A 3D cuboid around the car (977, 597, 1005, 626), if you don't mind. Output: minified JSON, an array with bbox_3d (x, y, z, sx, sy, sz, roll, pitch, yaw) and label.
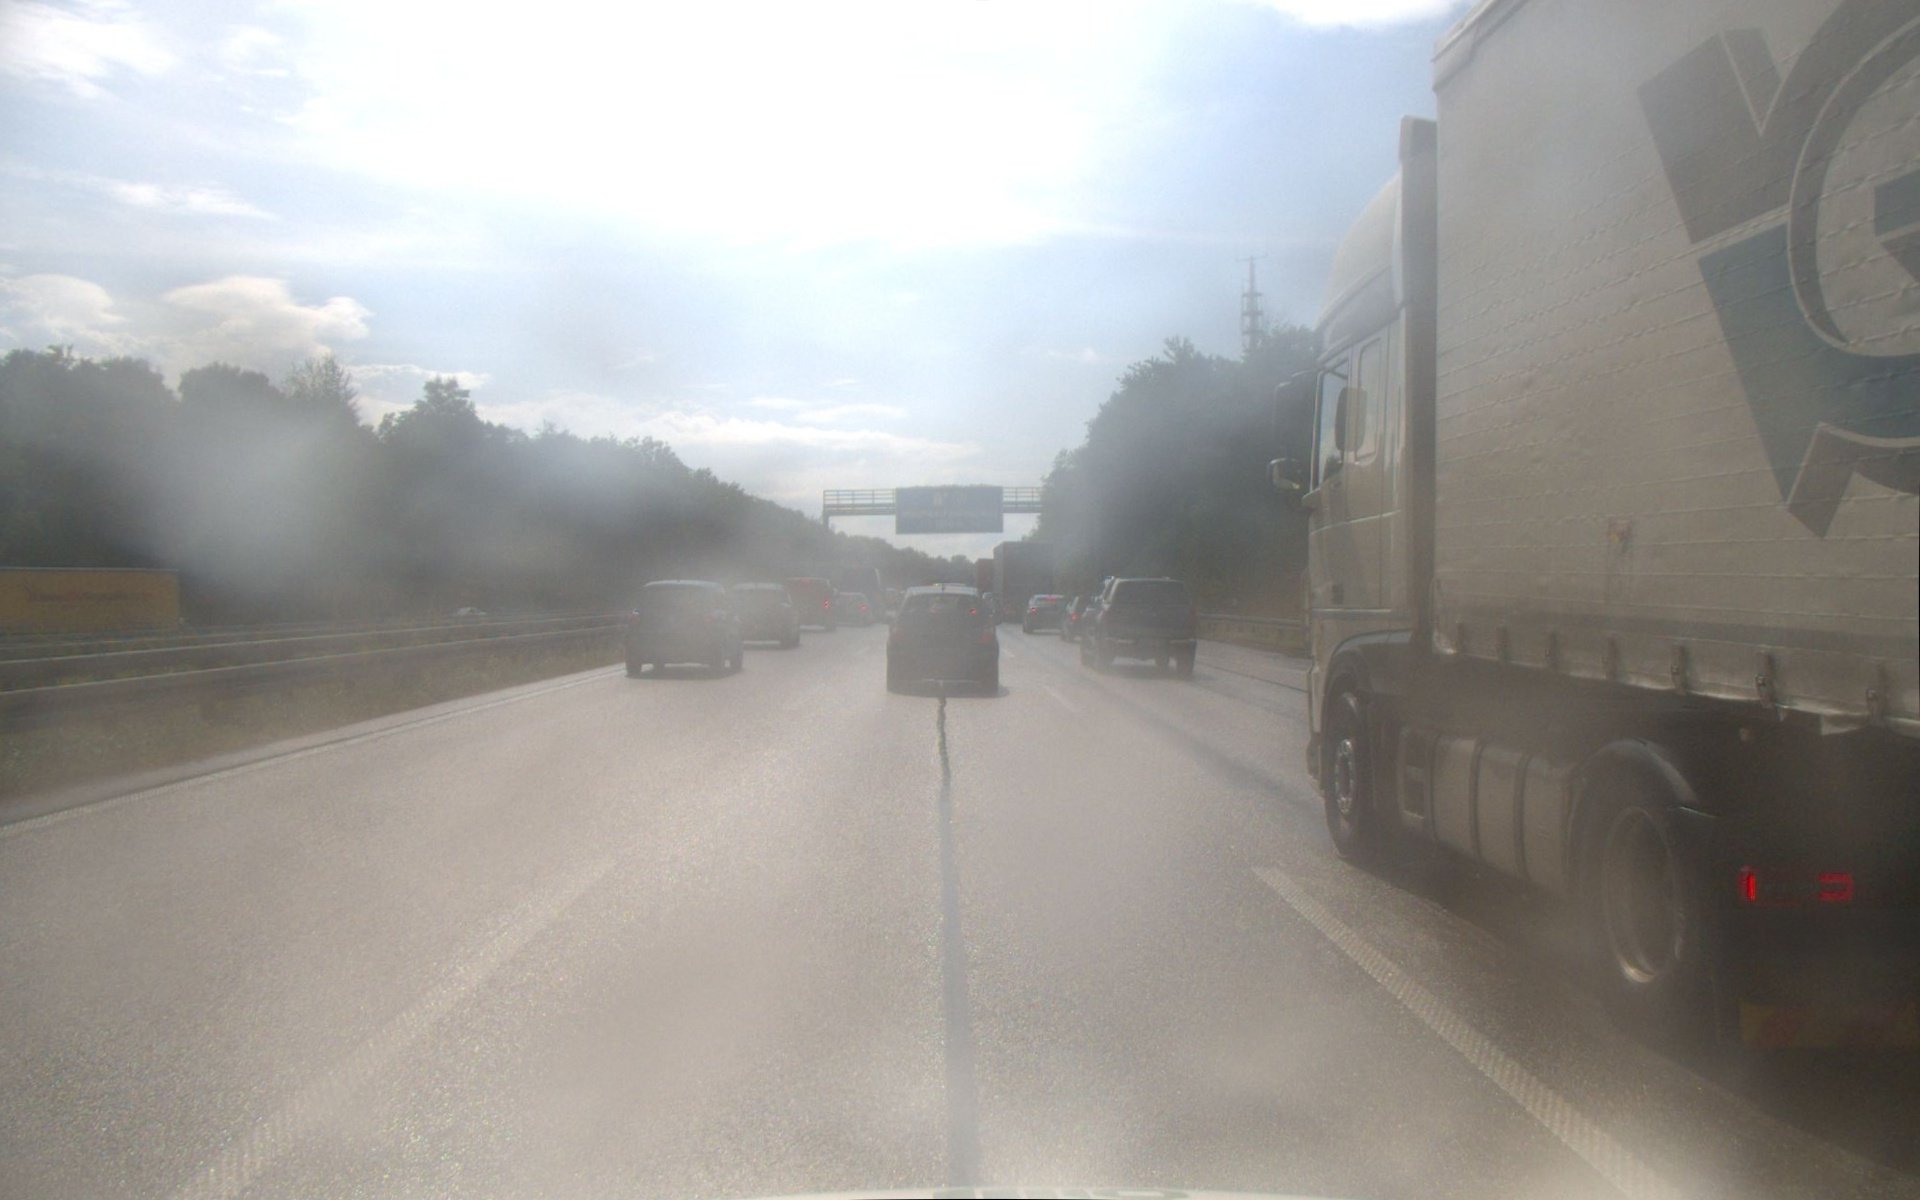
[{"bbox_3d":[2.303,0.862,124.160,1.953,2.152,4.888,1,0,0],"label":"car"}]

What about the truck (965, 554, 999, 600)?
[{"bbox_3d":[1.783,-1.849,137.233,2.718,3.695,5.916,1,0,0],"label":"truck"}]

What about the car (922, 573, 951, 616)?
[{"bbox_3d":[-1.583,-0.358,112.995,1.953,2.794,5.259,1,0,0],"label":"car"}]

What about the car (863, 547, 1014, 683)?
[{"bbox_3d":[-0.411,0.228,26.984,2.228,1.989,4.819,1,0,-2],"label":"car"}]

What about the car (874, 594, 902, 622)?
[{"bbox_3d":[-5.581,0.605,129.227,1.953,2.152,4.888,1,0,0],"label":"car"}]

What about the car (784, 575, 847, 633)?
[{"bbox_3d":[-5.391,0.152,62.315,1.938,2.090,4.756,1,0,0],"label":"car"}]

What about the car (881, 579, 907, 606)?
[{"bbox_3d":[-5.463,-0.574,136.561,1.953,2.152,4.888,1,0,0],"label":"car"}]

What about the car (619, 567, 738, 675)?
[{"bbox_3d":[-5.095,0.359,30.368,1.658,1.836,3.974,1,0,-3],"label":"car"}]

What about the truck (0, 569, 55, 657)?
[{"bbox_3d":[-47.870,0.596,79.688,3.707,4.189,7.051,1,0,12],"label":"truck"}]

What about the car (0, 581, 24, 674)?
[{"bbox_3d":[-20.670,0.551,32.155,2.005,1.924,5.258,1,0,-1],"label":"car"}]

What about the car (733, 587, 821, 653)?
[{"bbox_3d":[-4.868,0.506,44.655,1.870,1.665,4.616,-1,0,0],"label":"car"}]

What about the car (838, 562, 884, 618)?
[{"bbox_3d":[-4.862,-0.481,82.185,1.953,2.661,5.259,1,0,0],"label":"car"}]

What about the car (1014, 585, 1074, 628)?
[{"bbox_3d":[3.109,0.241,61.572,1.827,1.542,3.973,1,0,-3],"label":"car"}]

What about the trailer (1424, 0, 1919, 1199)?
[{"bbox_3d":[3.976,-0.488,0.581,3.217,3.967,14.123,1,0,-2],"label":"trailer"}]

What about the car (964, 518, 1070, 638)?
[{"bbox_3d":[2.867,-1.066,90.502,4.316,5.932,16.808,1,0,-3],"label":"car"}]

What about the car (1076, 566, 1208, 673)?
[{"bbox_3d":[3.547,0.371,33.241,1.902,1.952,5.650,1,0,-1],"label":"car"}]

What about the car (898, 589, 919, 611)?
[{"bbox_3d":[-5.141,0.028,166.947,1.953,2.152,4.888,1,0,0],"label":"car"}]

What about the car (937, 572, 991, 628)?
[{"bbox_3d":[0.101,0.000,57.001,1.658,1.836,3.974,1,0,-3],"label":"car"}]

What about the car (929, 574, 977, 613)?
[{"bbox_3d":[-0.317,-0.257,68.977,1.827,1.542,3.973,1,0,-3],"label":"car"}]

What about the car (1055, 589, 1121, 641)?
[{"bbox_3d":[3.951,0.467,51.646,1.559,1.542,3.974,1,0,-3],"label":"car"}]

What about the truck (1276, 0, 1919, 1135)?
[{"bbox_3d":[3.801,-0.547,7.668,3.218,3.959,6.394,1,0,-2],"label":"truck"}]

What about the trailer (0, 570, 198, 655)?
[{"bbox_3d":[-46.056,0.640,87.931,3.707,4.189,11.735,1,0,12],"label":"trailer"}]

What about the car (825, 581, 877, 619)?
[{"bbox_3d":[-4.721,0.016,72.299,1.953,1.592,4.756,1,0,0],"label":"car"}]
